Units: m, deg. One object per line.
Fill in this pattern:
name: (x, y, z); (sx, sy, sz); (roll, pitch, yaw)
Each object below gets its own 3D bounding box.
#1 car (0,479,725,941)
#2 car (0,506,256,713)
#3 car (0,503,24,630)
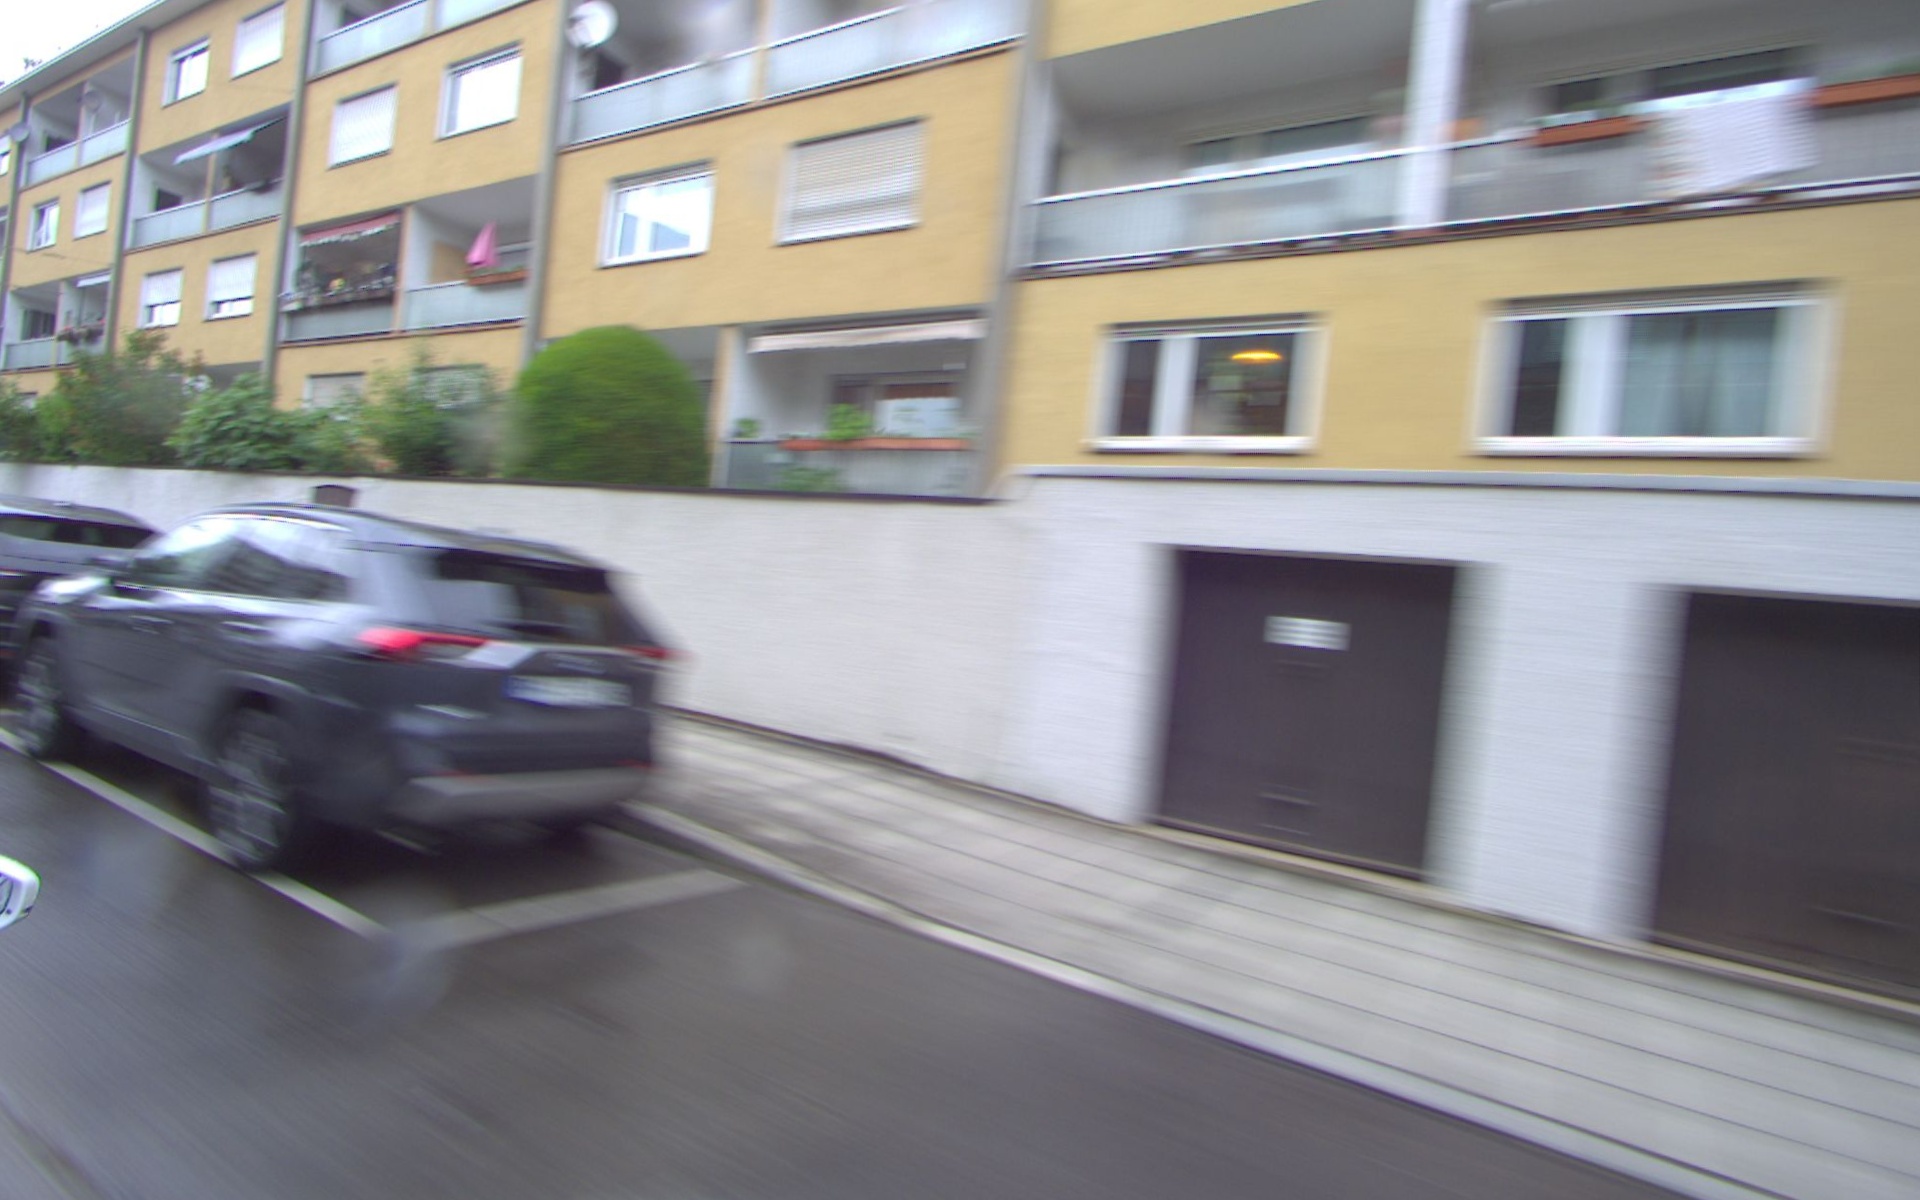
car: (-3.725, 0.365, 5.836); (4.500, 1.666, 1.805); (6, -2, 32)
car: (-8.298, -0.078, 8.725); (4.378, 1.443, 1.915); (6, -2, 32)
car: (-13.059, -0.624, 12.082); (3.495, 1.470, 1.689); (6, -2, 32)
